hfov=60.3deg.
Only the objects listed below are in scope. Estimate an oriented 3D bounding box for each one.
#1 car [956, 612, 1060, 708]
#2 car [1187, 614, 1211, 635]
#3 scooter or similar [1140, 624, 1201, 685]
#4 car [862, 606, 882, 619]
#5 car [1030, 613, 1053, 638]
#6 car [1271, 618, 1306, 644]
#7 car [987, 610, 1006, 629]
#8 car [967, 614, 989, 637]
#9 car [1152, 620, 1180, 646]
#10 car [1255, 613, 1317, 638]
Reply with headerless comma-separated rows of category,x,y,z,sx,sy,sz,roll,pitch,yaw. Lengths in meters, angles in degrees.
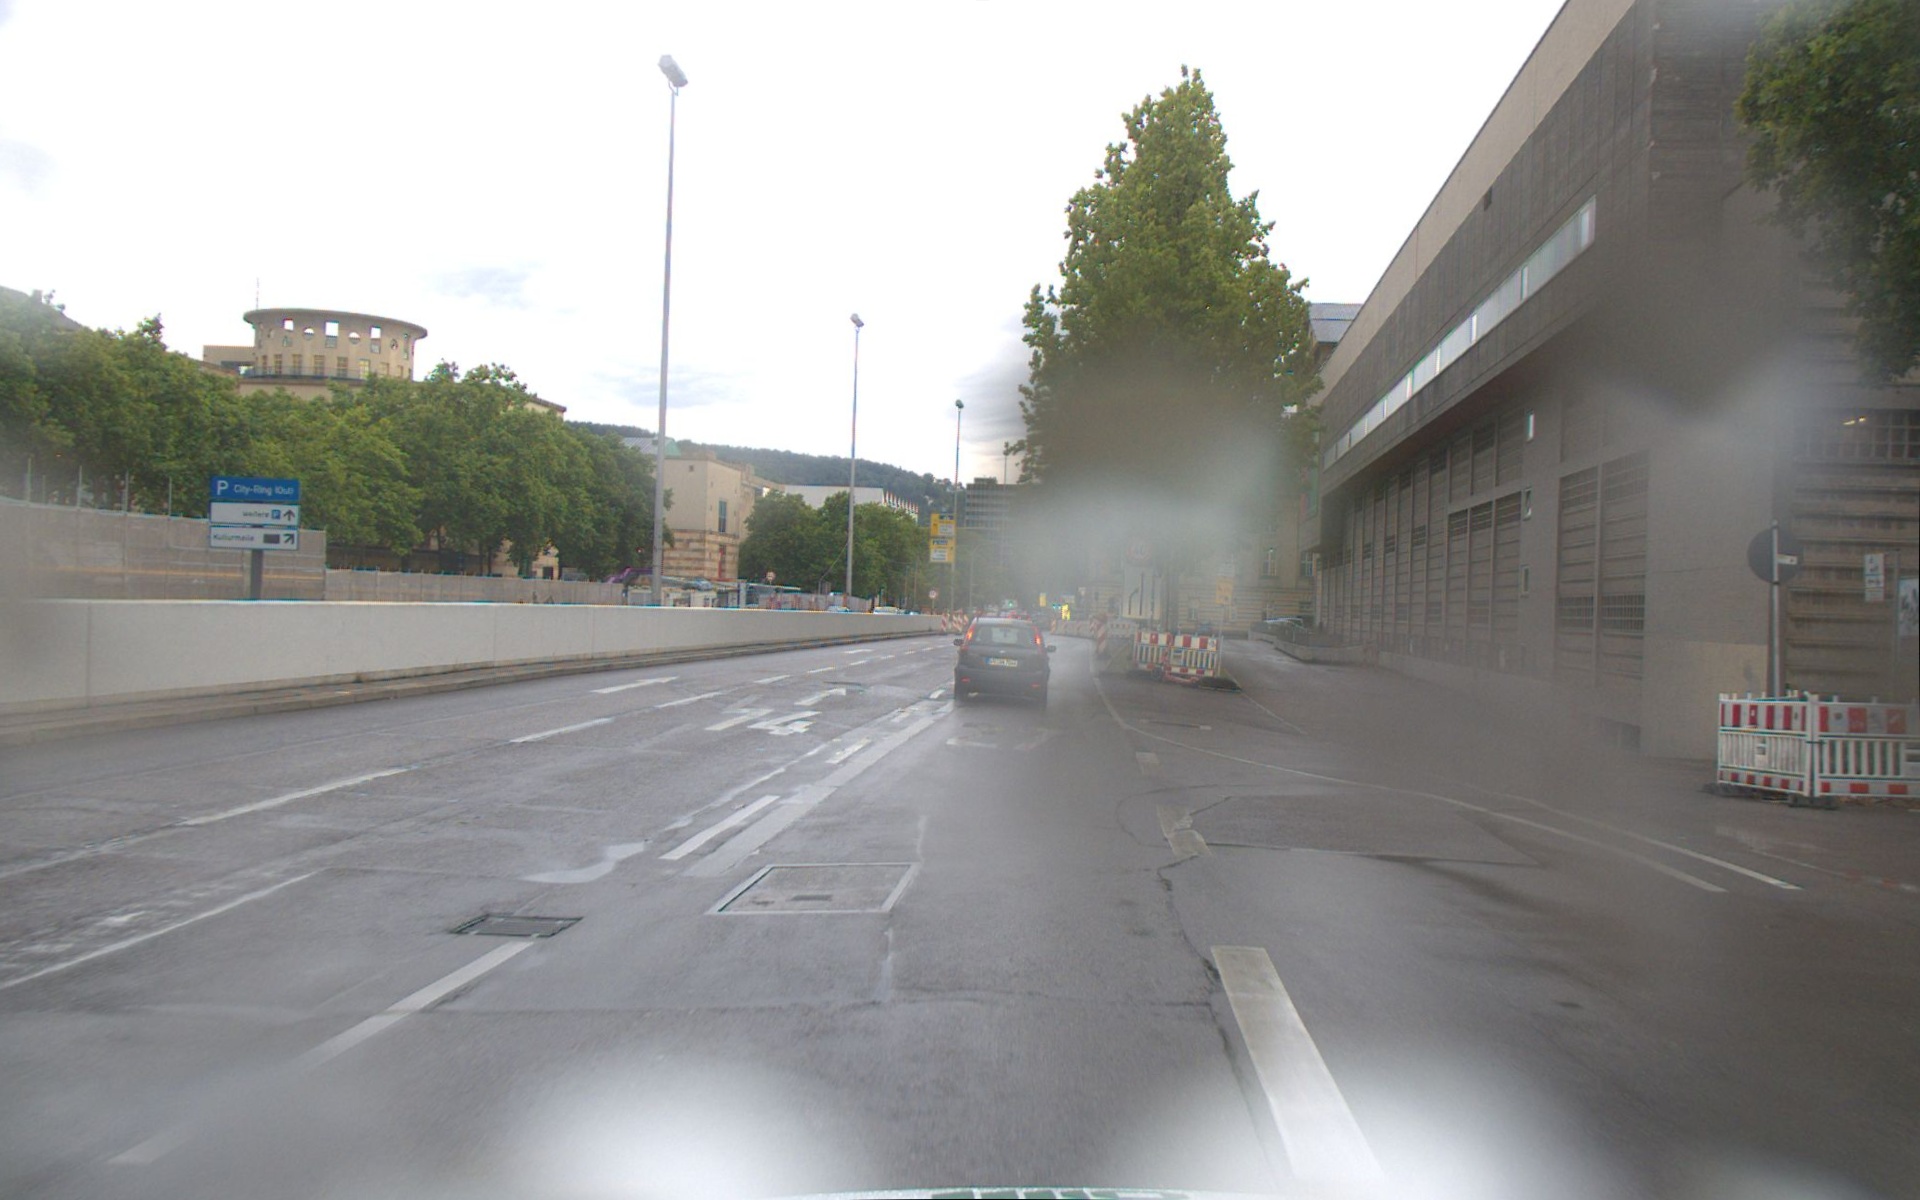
car,0.790,1.008,29.307,1.636,1.452,3.757,4,0,0
car,21.498,2.220,148.564,1.951,1.738,4.003,3,-1,9
scooter or similar,4.931,1.280,38.736,1.327,1.308,0.619,4,-2,6
car,-9.155,1.266,172.721,1.592,1.216,3.407,4,0,4
car,7.525,2.325,152.538,1.952,2.048,4.002,3,1,4
car,23.794,2.254,120.074,1.951,1.791,5.099,2,-2,5
car,4.195,2.304,191.876,1.953,2.049,3.999,4,-2,0
car,1.188,1.680,108.937,1.357,1.411,3.067,1,-1,0
car,15.869,2.518,127.189,1.951,1.738,4.003,3,1,9
car,22.111,1.727,112.253,3.902,1.587,1.934,1,-3,5
